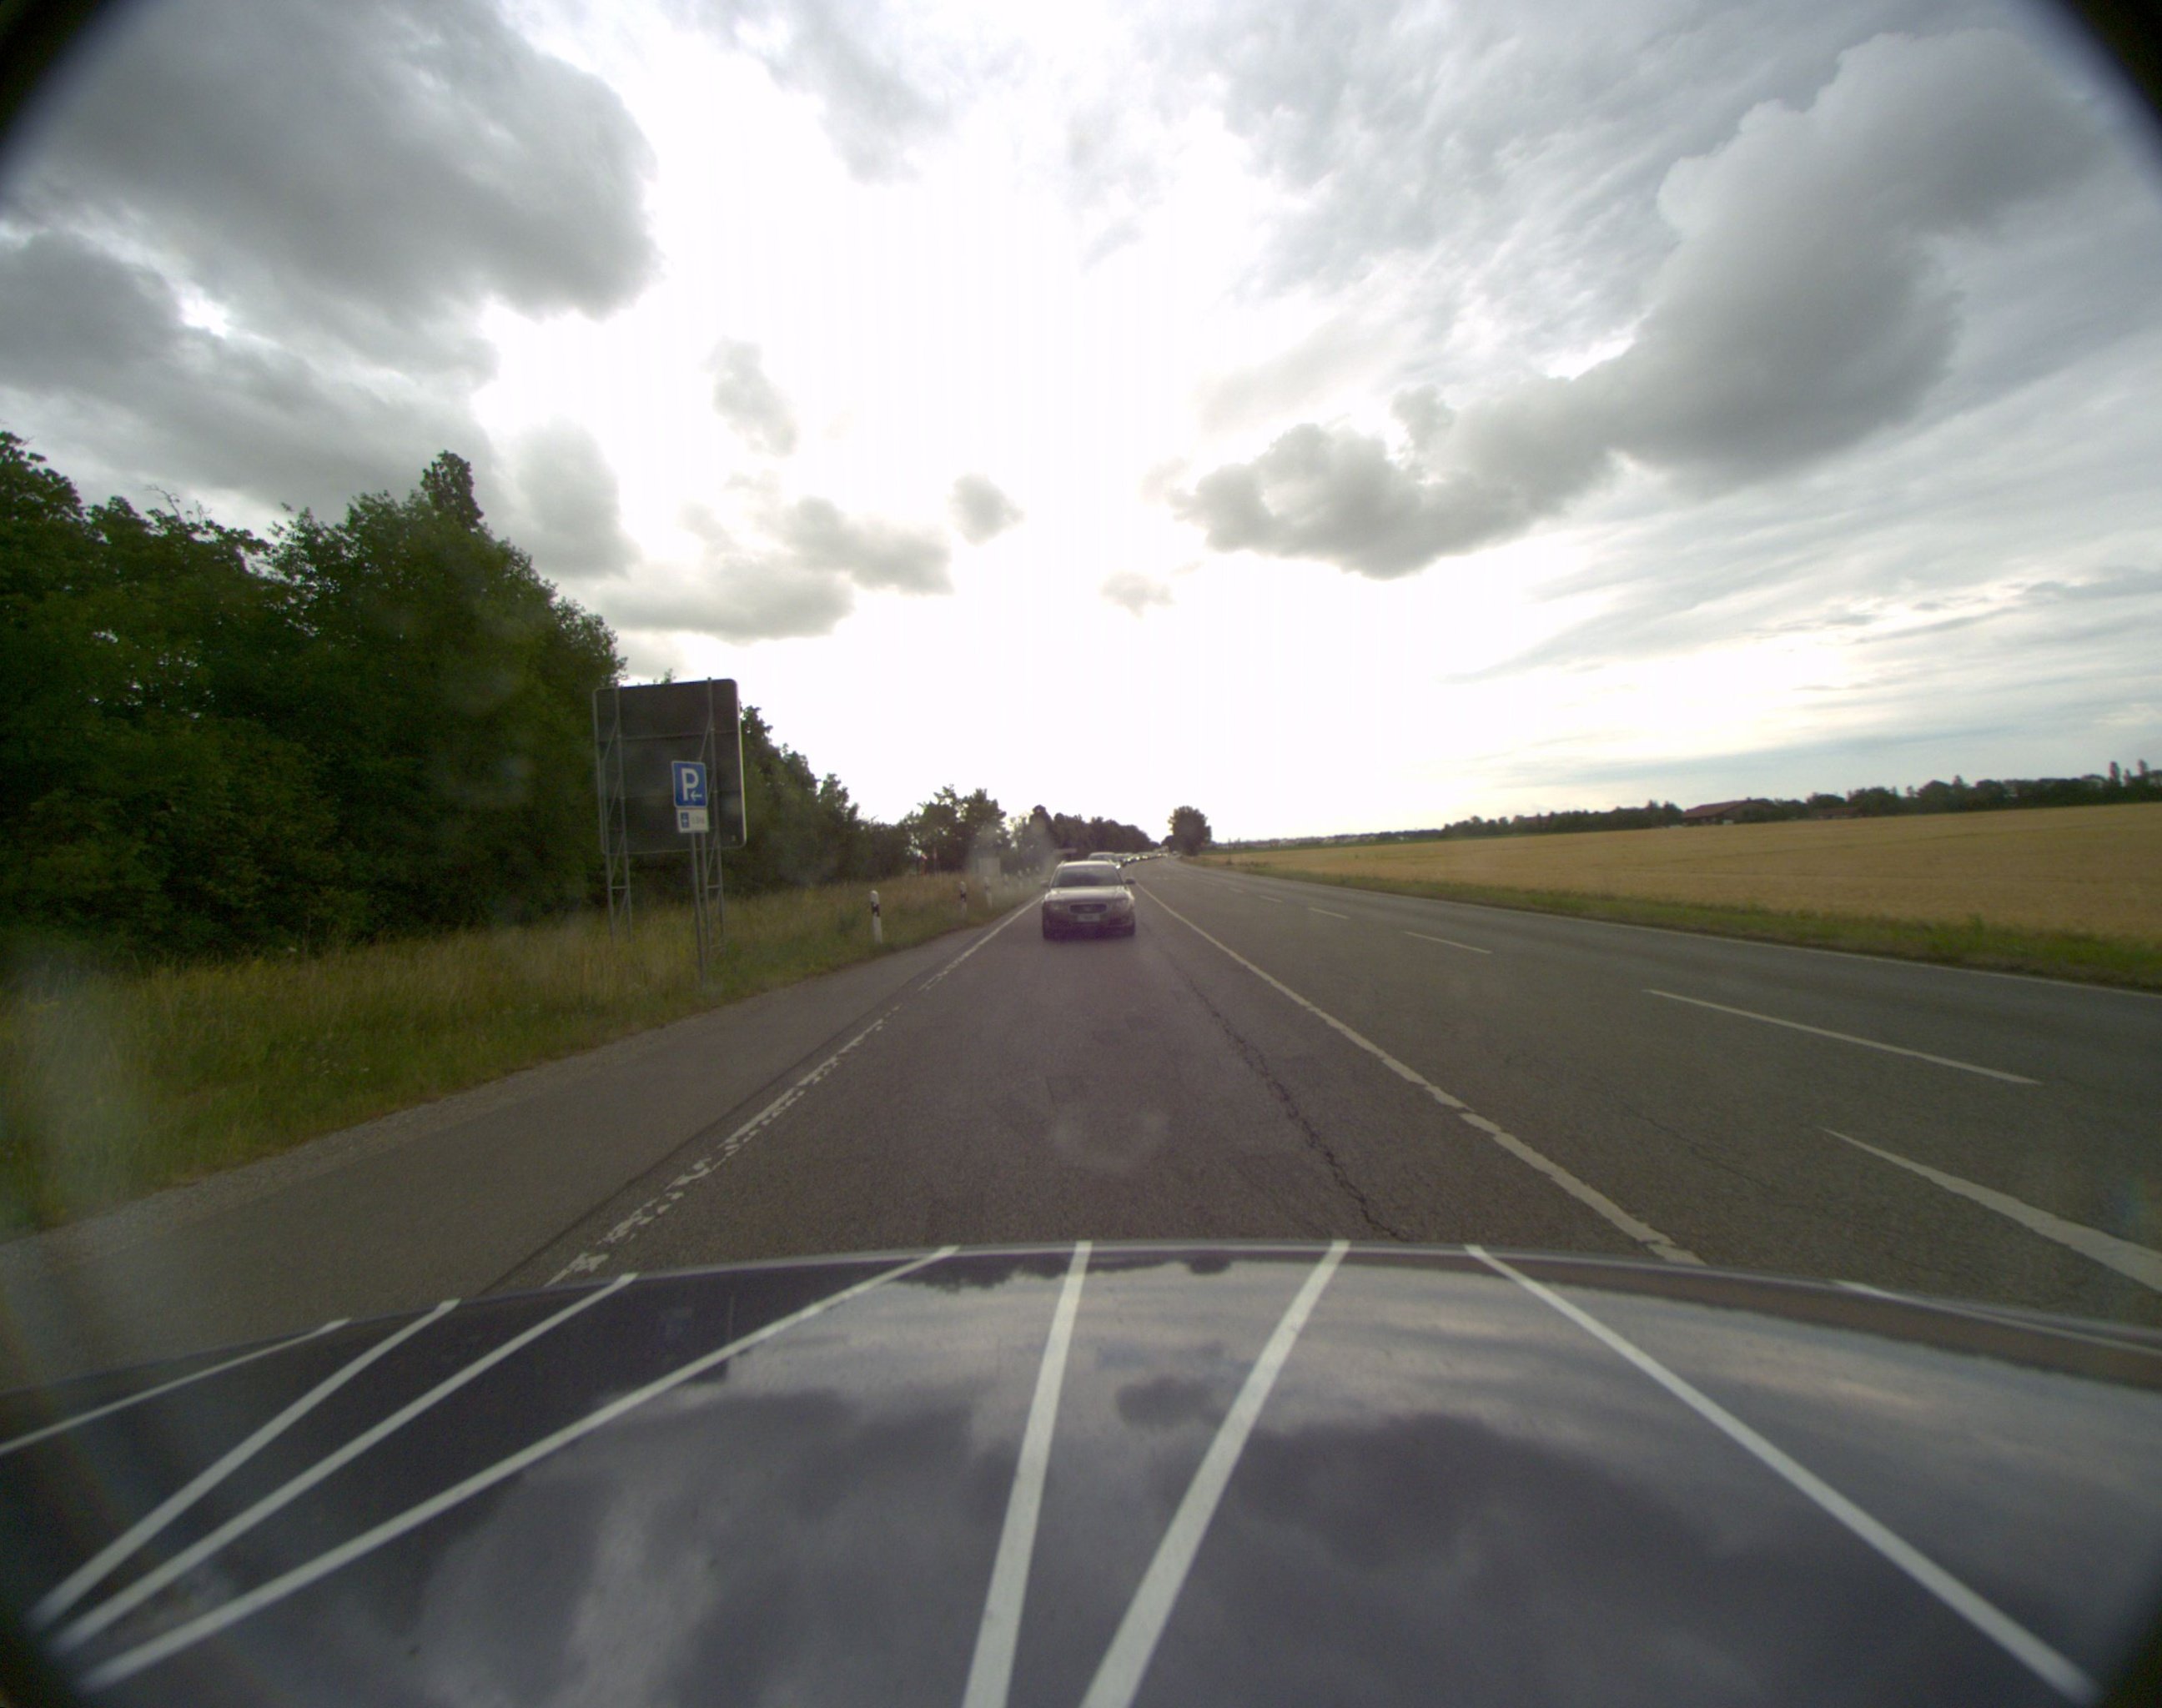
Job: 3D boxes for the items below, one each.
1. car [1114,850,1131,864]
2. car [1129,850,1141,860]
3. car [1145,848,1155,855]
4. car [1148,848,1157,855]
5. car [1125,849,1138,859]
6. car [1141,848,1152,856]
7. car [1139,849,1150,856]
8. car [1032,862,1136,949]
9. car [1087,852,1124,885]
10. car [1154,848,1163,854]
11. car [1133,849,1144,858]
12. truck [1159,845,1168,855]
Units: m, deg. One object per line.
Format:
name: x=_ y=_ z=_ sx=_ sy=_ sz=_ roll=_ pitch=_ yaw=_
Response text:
car: x=5.143 y=0.394 z=93.134 sx=1.793 sy=1.573 sz=4.369 roll=-2 pitch=0 yaw=5
car: x=8.755 y=0.099 z=122.803 sx=1.793 sy=1.573 sz=4.189 roll=-2 pitch=0 yaw=6
car: x=16.351 y=-0.549 z=180.090 sx=1.792 sy=1.573 sz=4.140 roll=-2 pitch=0 yaw=11
car: x=17.973 y=-0.645 z=190.153 sx=1.792 sy=1.573 sz=4.140 roll=-2 pitch=0 yaw=11
car: x=8.999 y=0.005 z=135.323 sx=1.792 sy=1.573 sz=4.139 roll=-2 pitch=0 yaw=8
car: x=14.788 y=-0.444 z=171.479 sx=1.953 sy=1.573 sz=4.140 roll=-2 pitch=0 yaw=12
car: x=13.661 y=-0.335 z=162.970 sx=1.792 sy=1.573 sz=4.140 roll=-2 pitch=0 yaw=11
car: x=0.134 y=0.931 z=15.643 sx=1.793 sy=1.415 sz=4.368 roll=-2 pitch=0 yaw=2
car: x=1.303 y=0.722 z=40.167 sx=1.793 sy=1.573 sz=4.368 roll=-2 pitch=0 yaw=2
car: x=21.407 y=-0.912 z=210.333 sx=1.792 sy=1.531 sz=4.140 roll=-2 pitch=0 yaw=13
car: x=11.068 y=-0.100 z=147.245 sx=1.793 sy=1.573 sz=4.139 roll=-2 pitch=0 yaw=8
truck: x=25.919 y=-1.248 z=239.093 sx=2.318 sy=2.749 sz=7.678 roll=-3 pitch=0 yaw=10
